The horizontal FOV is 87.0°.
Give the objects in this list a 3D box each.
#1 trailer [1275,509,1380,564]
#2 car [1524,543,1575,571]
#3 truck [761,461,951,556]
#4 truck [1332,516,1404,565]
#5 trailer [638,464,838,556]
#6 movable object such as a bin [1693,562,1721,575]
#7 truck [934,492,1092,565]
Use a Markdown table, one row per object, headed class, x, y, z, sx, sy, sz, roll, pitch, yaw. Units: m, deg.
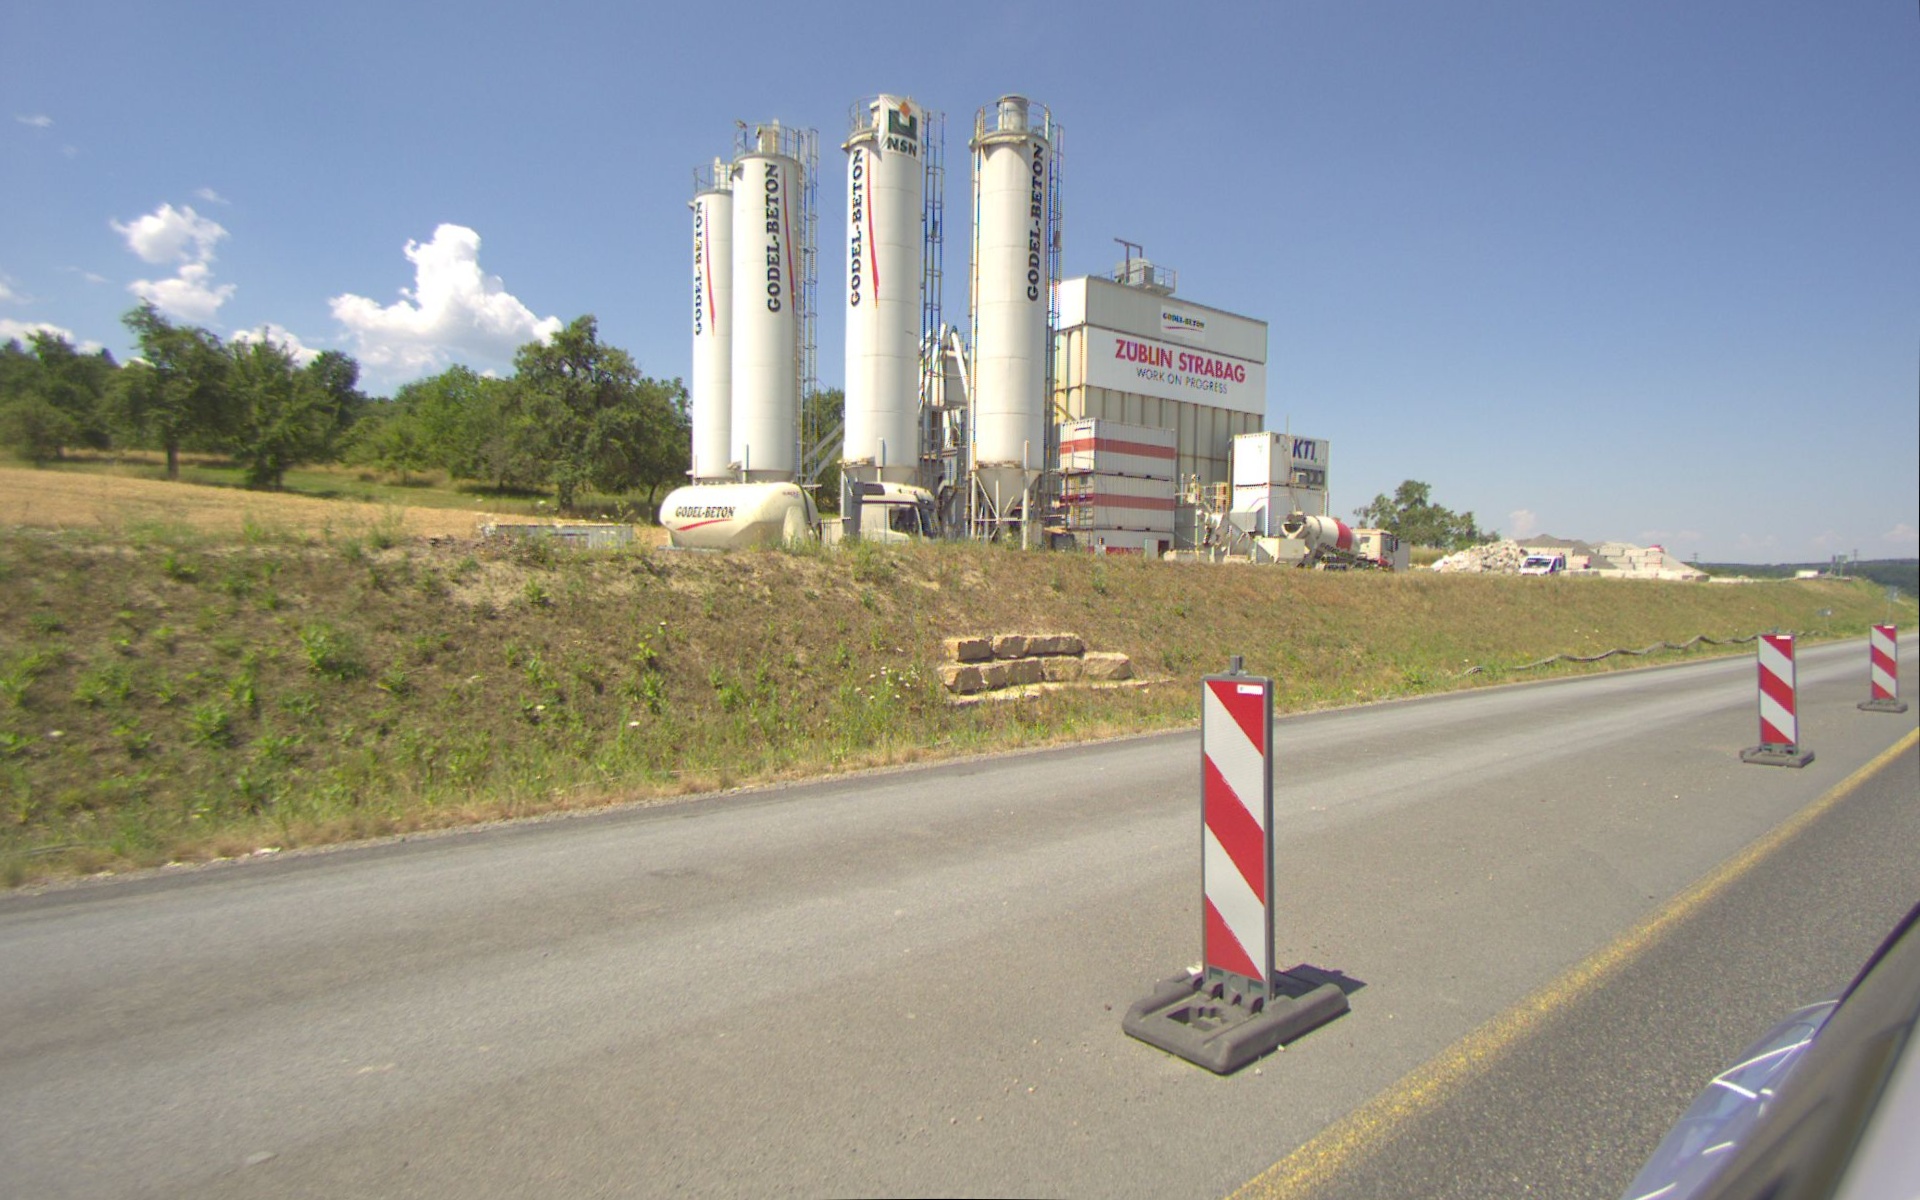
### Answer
| class | x | y | z | sx | sy | sz | roll | pitch | yaw |
| --- | --- | --- | --- | --- | --- | --- | --- | --- | --- |
| trailer | 19.880 | -3.341 | 54.555 | 6.809 | 2.677 | 1.999 | -1 | 0 | -38 |
| car | 39.820 | -2.870 | 68.325 | 3.539 | 1.785 | 1.989 | -1 | 0 | -41 |
| truck | -3.126 | -2.728 | 31.289 | 5.228 | 2.576 | 2.894 | 0 | 0 | 13 |
| truck | 22.928 | -3.274 | 56.861 | 3.967 | 2.577 | 2.022 | -1 | 0 | -38 |
| trailer | -7.787 | -2.871 | 34.400 | 2.423 | 2.639 | 8.903 | 0 | 1 | -44 |
| movable object such as a bin | 43.089 | -1.794 | 58.375 | 2.210 | 0.690 | 0.837 | -1 | 1 | -41 |
| truck | 2.251 | -3.192 | 47.604 | 2.412 | 2.904 | 9.103 | 0 | 0 | -34 |
